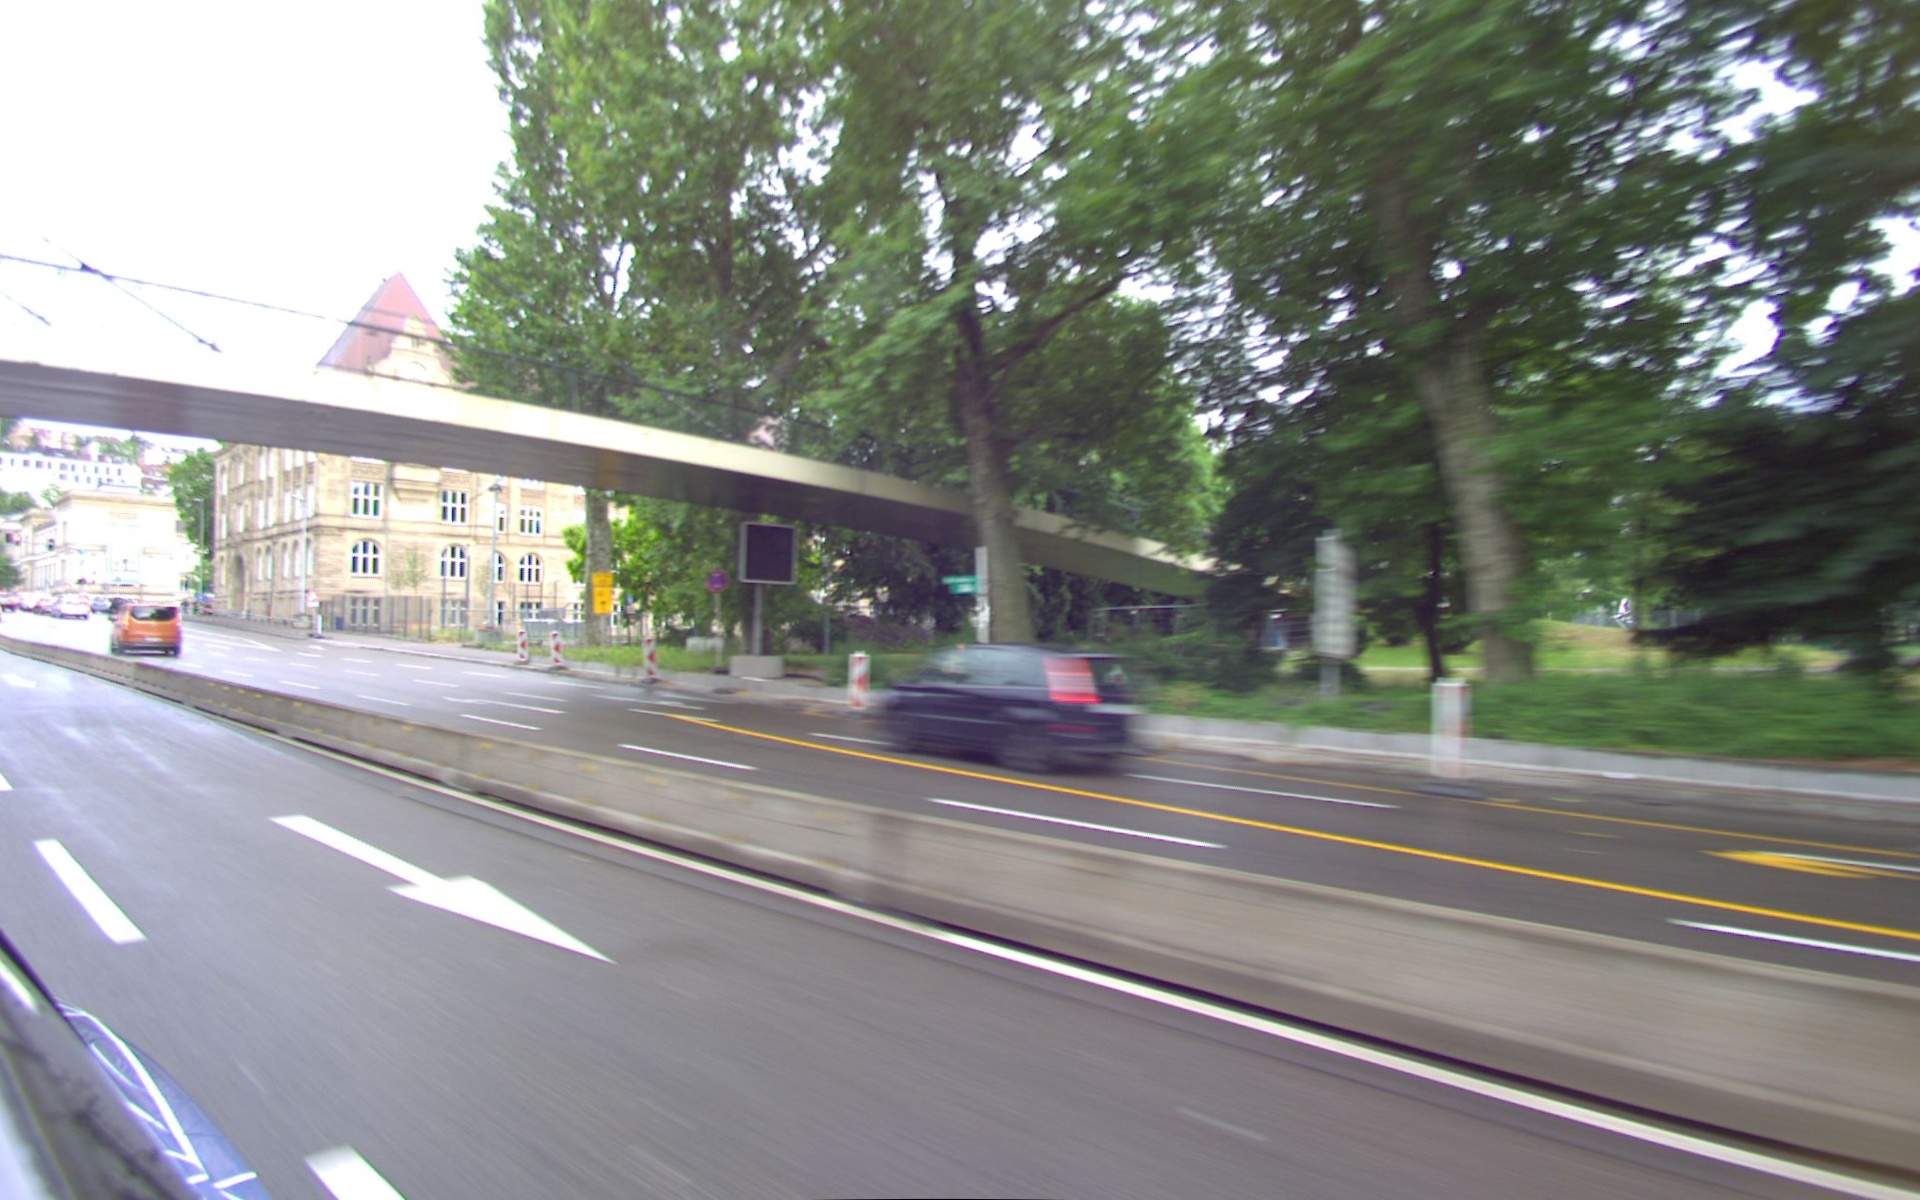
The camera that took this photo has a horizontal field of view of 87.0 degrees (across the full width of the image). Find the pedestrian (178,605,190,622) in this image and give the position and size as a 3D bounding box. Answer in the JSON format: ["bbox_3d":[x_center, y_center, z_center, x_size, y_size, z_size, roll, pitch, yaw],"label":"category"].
[{"bbox_3d":[-73.149,1.249,95.401,0.734,1.596,0.610,1,-3,42],"label":"pedestrian"}]

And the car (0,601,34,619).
[{"bbox_3d":[-80.541,0.843,86.000,4.206,1.393,1.975,2,-3,38],"label":"car"}]

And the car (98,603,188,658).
[{"bbox_3d":[-32.469,1.185,40.168,5.045,1.951,2.008,1,-3,43],"label":"car"}]

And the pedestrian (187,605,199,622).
[{"bbox_3d":[-72.752,1.278,95.985,0.733,1.596,0.611,2,-3,34],"label":"pedestrian"}]

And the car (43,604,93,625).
[{"bbox_3d":[-68.852,1.102,78.095,4.204,1.393,1.976,2,-3,36],"label":"car"}]

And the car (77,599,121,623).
[{"bbox_3d":[-80.861,1.069,95.032,3.989,2.029,1.977,2,-2,34],"label":"car"}]

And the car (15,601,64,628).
[{"bbox_3d":[-75.344,1.173,82.841,3.989,2.029,1.977,2,-2,34],"label":"car"}]

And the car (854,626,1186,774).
[{"bbox_3d":[0.665,1.239,13.728,2.006,1.666,4.323,3,-4,-42],"label":"car"}]
